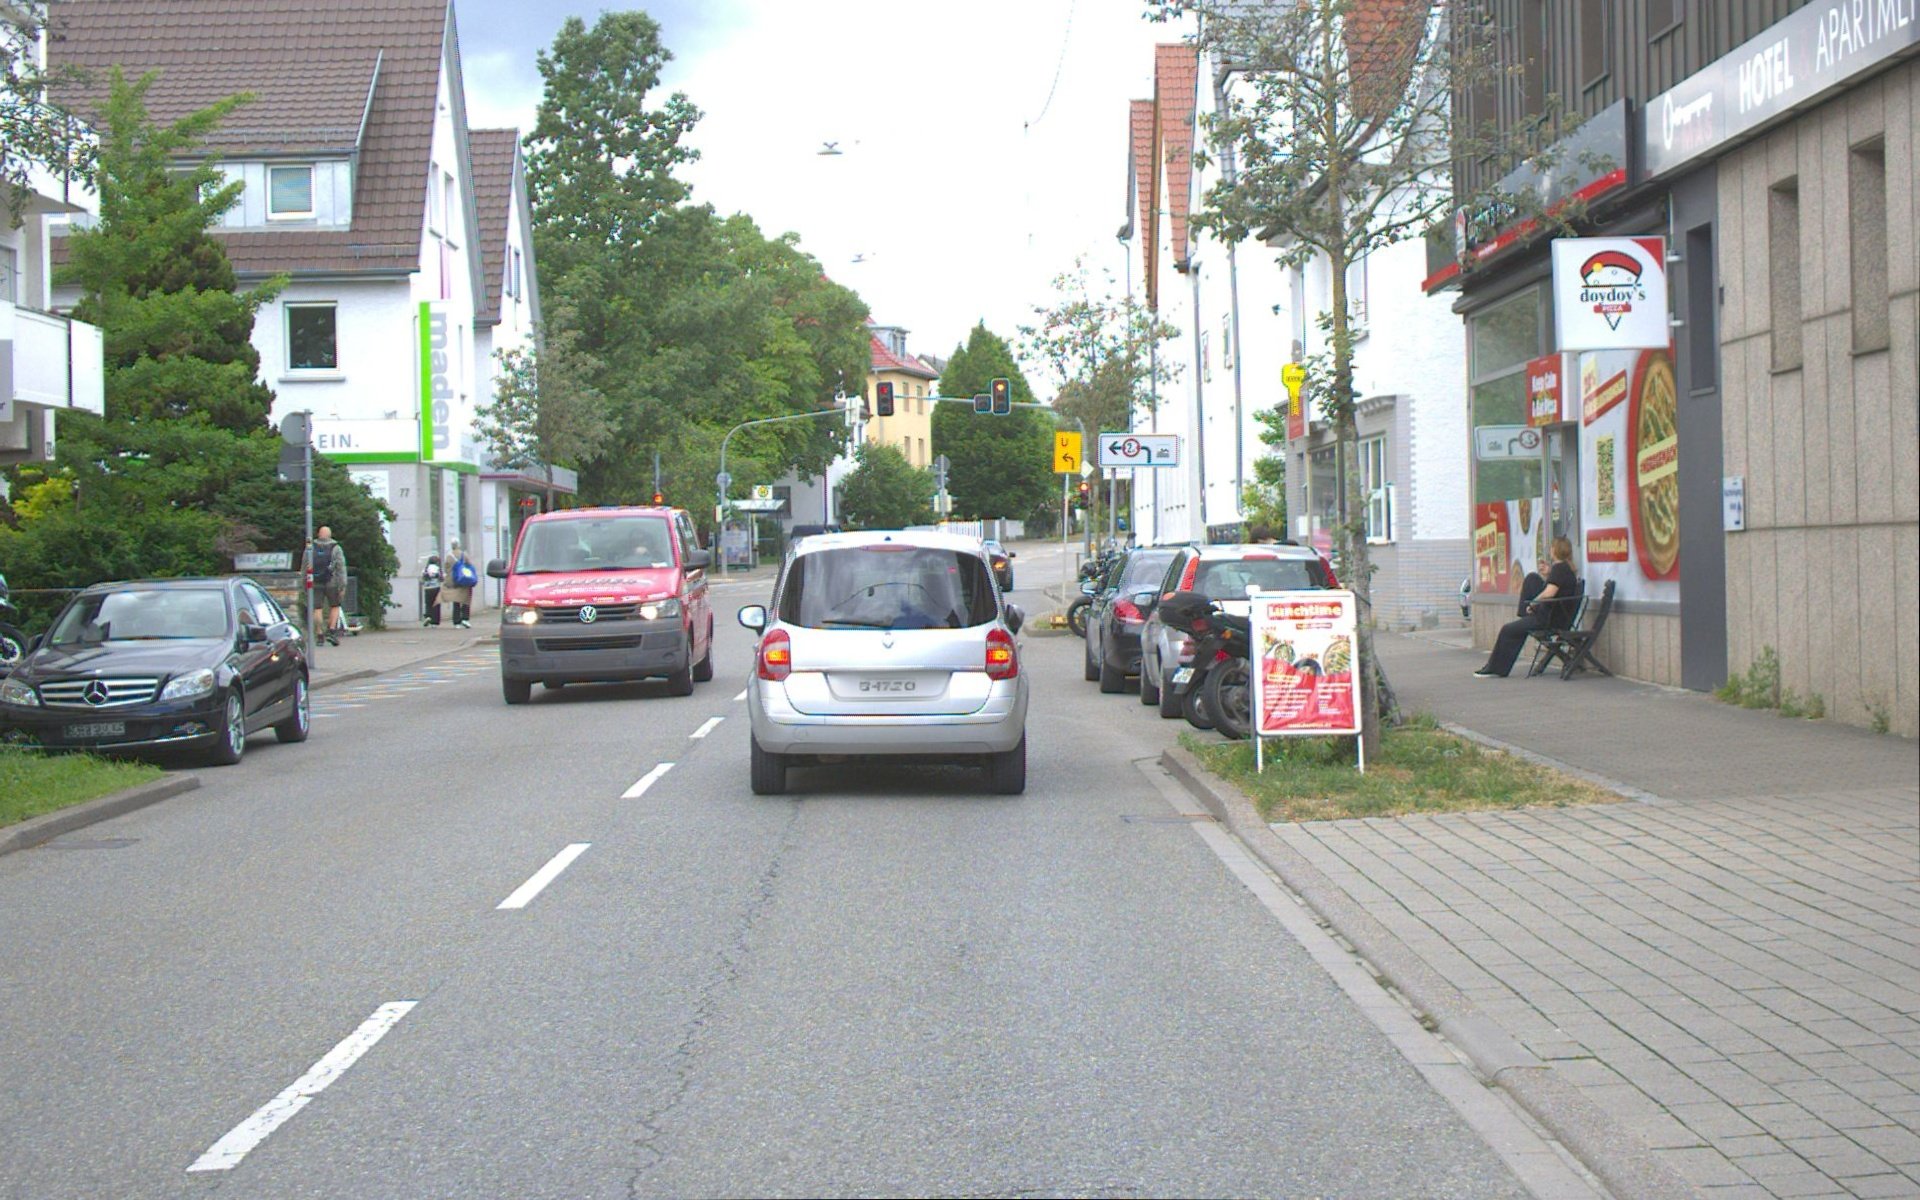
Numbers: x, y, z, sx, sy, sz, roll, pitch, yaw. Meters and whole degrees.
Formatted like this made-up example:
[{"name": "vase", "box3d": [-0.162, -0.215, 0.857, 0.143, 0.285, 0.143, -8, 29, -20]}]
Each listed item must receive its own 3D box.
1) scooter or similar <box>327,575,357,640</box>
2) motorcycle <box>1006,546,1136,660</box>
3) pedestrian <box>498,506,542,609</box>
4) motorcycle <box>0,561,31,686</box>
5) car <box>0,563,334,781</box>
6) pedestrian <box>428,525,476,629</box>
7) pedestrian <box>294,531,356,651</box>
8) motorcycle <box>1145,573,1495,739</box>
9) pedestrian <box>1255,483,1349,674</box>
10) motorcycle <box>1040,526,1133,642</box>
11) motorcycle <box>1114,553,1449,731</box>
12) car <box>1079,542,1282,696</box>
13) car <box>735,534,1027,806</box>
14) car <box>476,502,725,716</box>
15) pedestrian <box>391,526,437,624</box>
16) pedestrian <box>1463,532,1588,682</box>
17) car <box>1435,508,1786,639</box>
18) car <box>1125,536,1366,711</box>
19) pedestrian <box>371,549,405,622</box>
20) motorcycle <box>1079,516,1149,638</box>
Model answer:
[{"name": "scooter or similar", "box3d": [-10.072, 0.117, 56.050, 0.373, 1.031, 0.559, -2, 1, -1]}, {"name": "motorcycle", "box3d": [1.436, 0.018, 43.974, 0.699, 1.404, 2.713, 0, 1, 24]}, {"name": "pedestrian", "box3d": [-8.017, -0.781, 62.723, 0.716, 1.869, 0.696, 0, 1, -1]}, {"name": "motorcycle", "box3d": [-11.876, 0.264, 38.644, 2.706, 1.404, 0.700, 0, 1, -10]}, {"name": "car", "box3d": [-6.343, 0.506, 27.032, 1.948, 1.462, 4.516, -3, 1, 0]}, {"name": "pedestrian", "box3d": [-9.131, -0.418, 61.780, 0.762, 1.869, 0.696, 0, 1, -1]}, {"name": "pedestrian", "box3d": [-9.538, -0.141, 51.654, 0.762, 1.785, 0.890, 0, 1, -1]}, {"name": "motorcycle", "box3d": [2.722, 0.397, 25.808, 2.728, 1.179, 0.700, -1, 1, -31]}, {"name": "pedestrian", "box3d": [3.477, -0.222, 34.969, 0.857, 1.921, 0.899, 0, 1, 0]}, {"name": "motorcycle", "box3d": [1.820, -0.248, 49.839, 0.697, 1.633, 2.410, 0, 1, -14]}, {"name": "motorcycle", "box3d": [2.533, 0.306, 26.852, 2.707, 1.331, 0.700, -1, 1, -31]}, {"name": "car", "box3d": [2.170, 0.151, 34.810, 1.700, 1.462, 4.239, 0, 1, -1]}, {"name": "car", "box3d": [-0.456, 0.372, 21.790, 1.682, 1.560, 3.993, 0, 1, 0]}, {"name": "car", "box3d": [-3.647, 0.047, 35.784, 1.948, 1.955, 5.223, -3, 1, 0]}, {"name": "pedestrian", "box3d": [-9.864, -0.457, 62.124, 0.716, 1.750, 0.696, 0, 1, -1]}, {"name": "pedestrian", "box3d": [5.217, 0.060, 31.755, 0.887, 1.295, 0.966, -5, 1, 0]}, {"name": "car", "box3d": [7.933, -0.331, 42.173, 3.980, 1.560, 1.688, 0, 1, 0]}, {"name": "car", "box3d": [2.426, 0.164, 29.999, 1.700, 1.425, 3.891, 0, 1, -1]}, {"name": "pedestrian", "box3d": [-10.044, -0.261, 60.394, 0.492, 1.273, 0.588, 0, 1, -1]}, {"name": "motorcycle", "box3d": [2.121, -0.322, 47.165, 0.698, 1.633, 2.408, 0, 1, 9]}]
